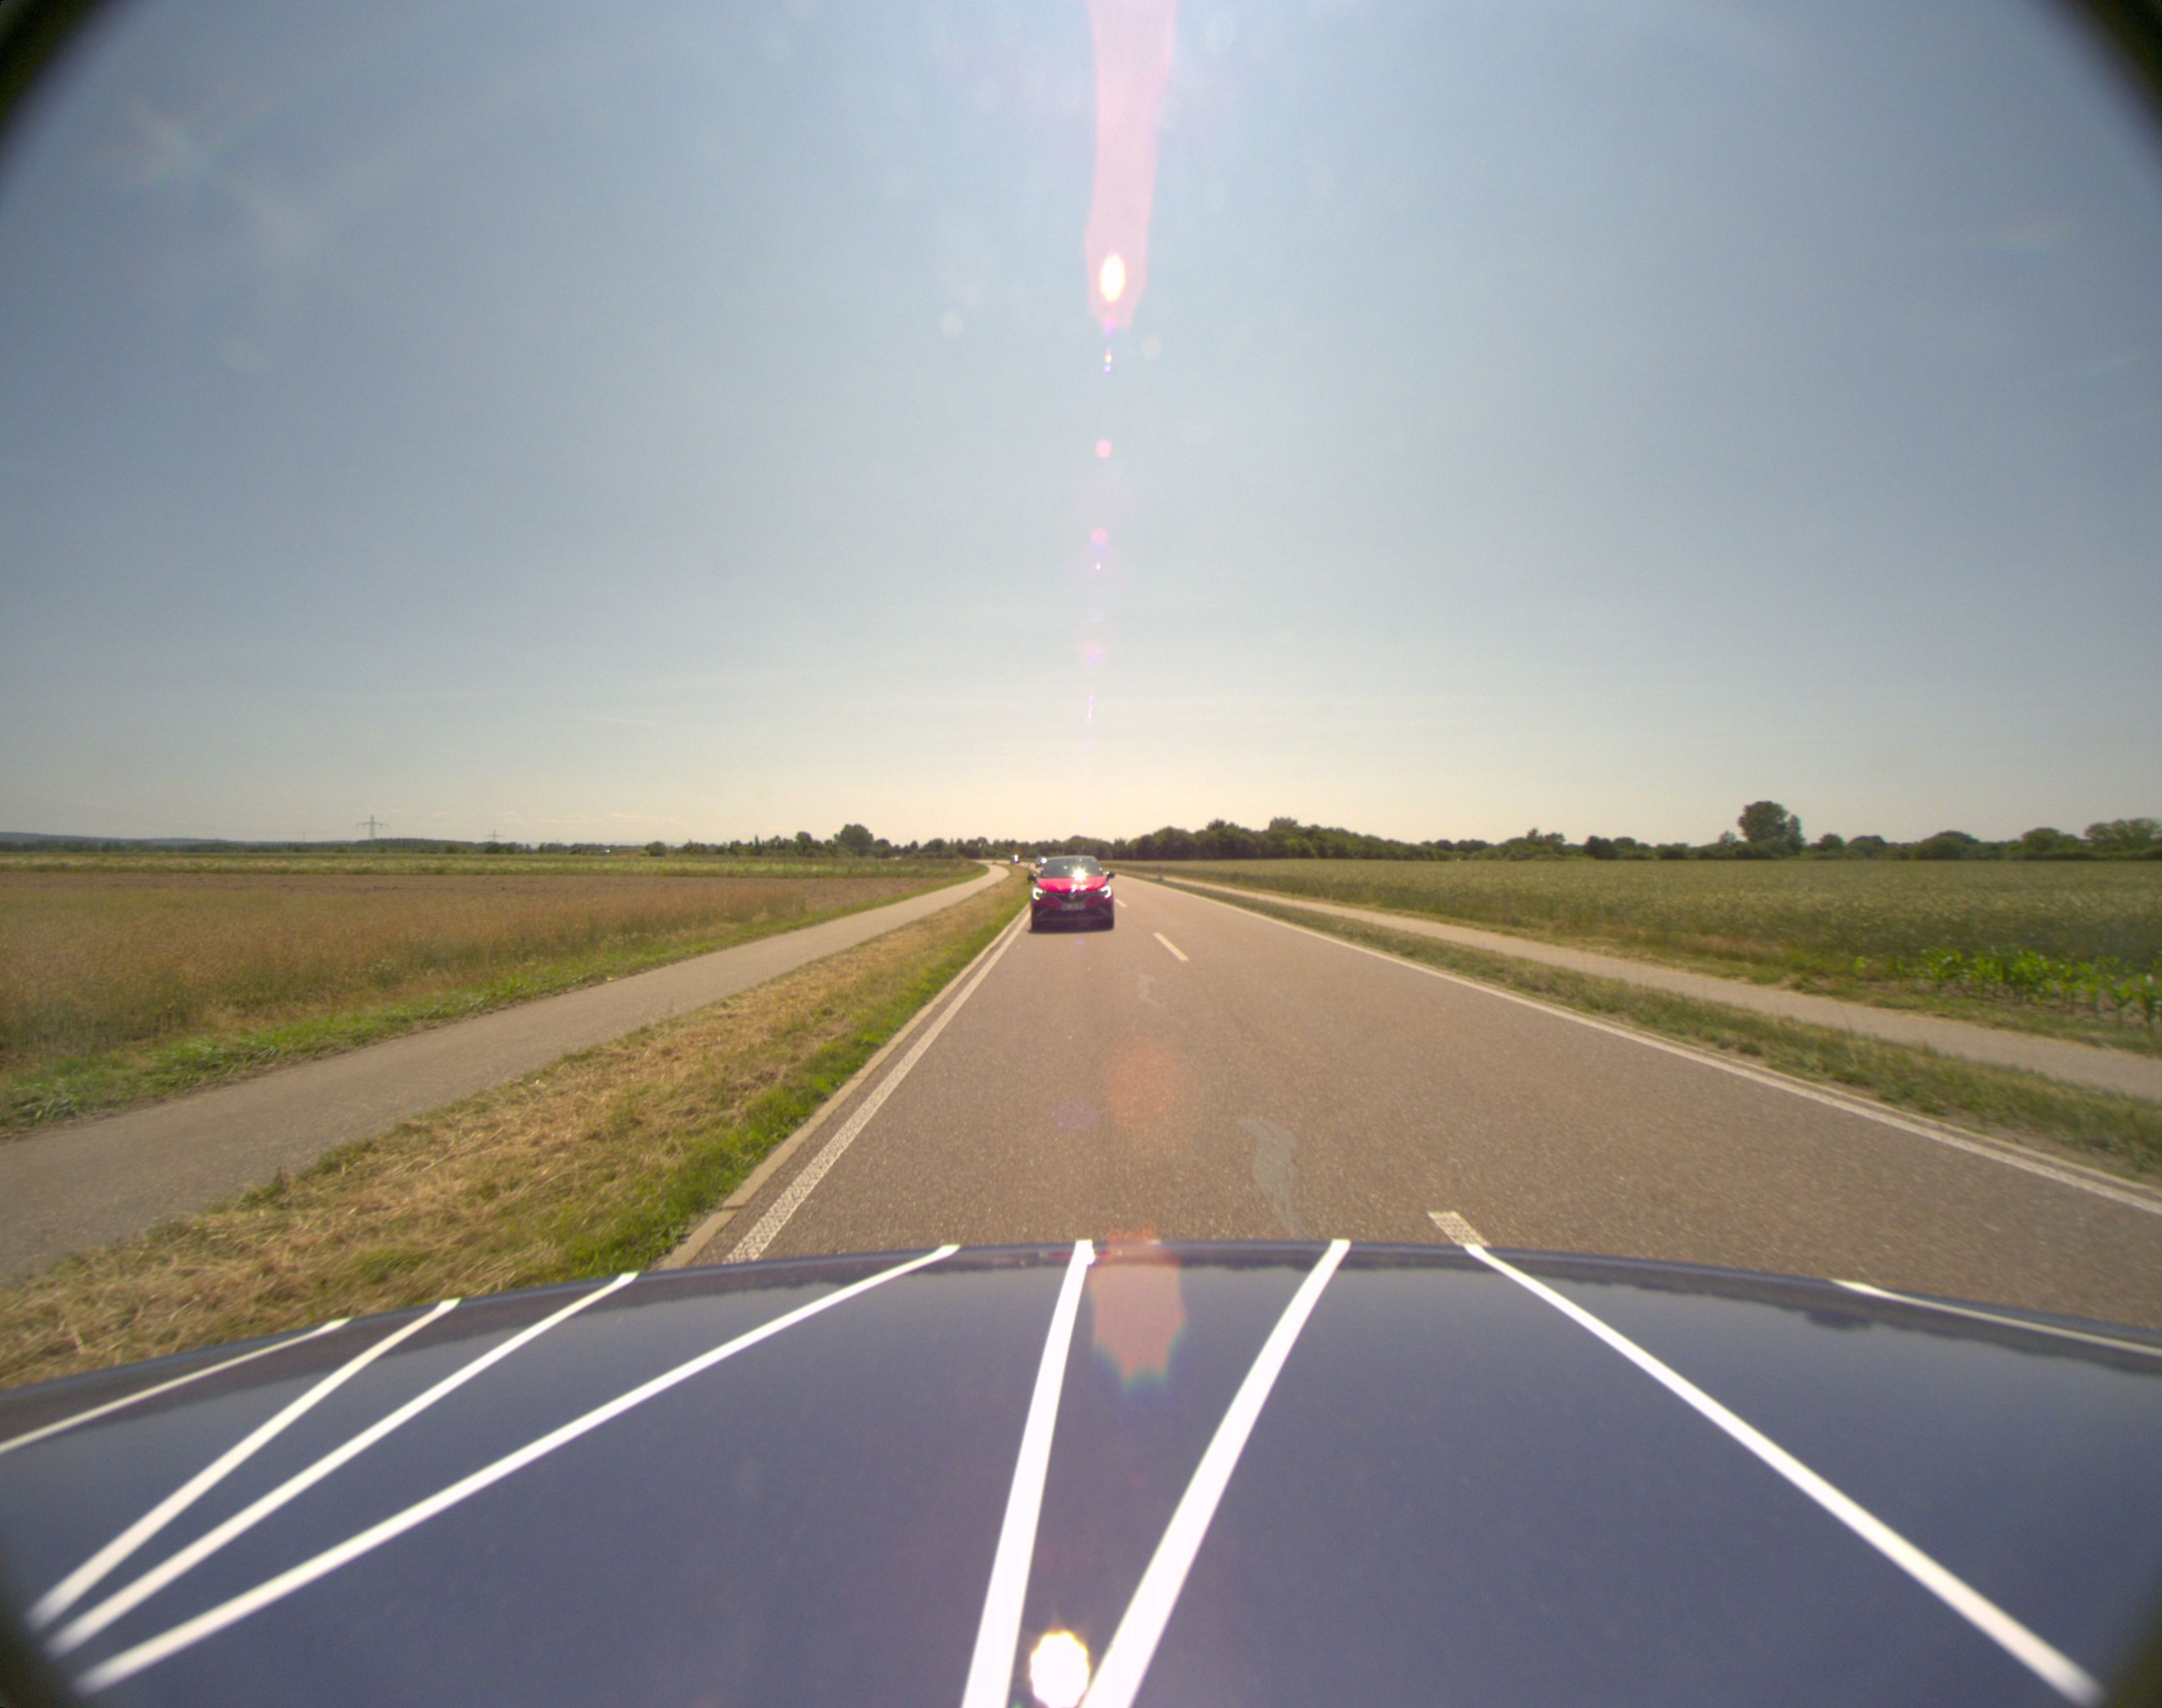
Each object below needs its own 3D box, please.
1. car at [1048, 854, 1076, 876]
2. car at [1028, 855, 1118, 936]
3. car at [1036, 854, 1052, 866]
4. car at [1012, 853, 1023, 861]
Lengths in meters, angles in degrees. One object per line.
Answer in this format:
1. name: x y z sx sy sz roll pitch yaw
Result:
1. car: -1.573 0.862 61.084 1.984 1.587 5.399 -1 0 -4
2. car: -0.192 0.868 18.140 1.837 1.587 4.721 -1 0 -1
3. car: -5.233 0.770 107.530 1.984 1.587 5.398 -1 0 -6
4. car: -13.676 0.688 163.845 1.985 1.587 5.397 -1 0 -9
